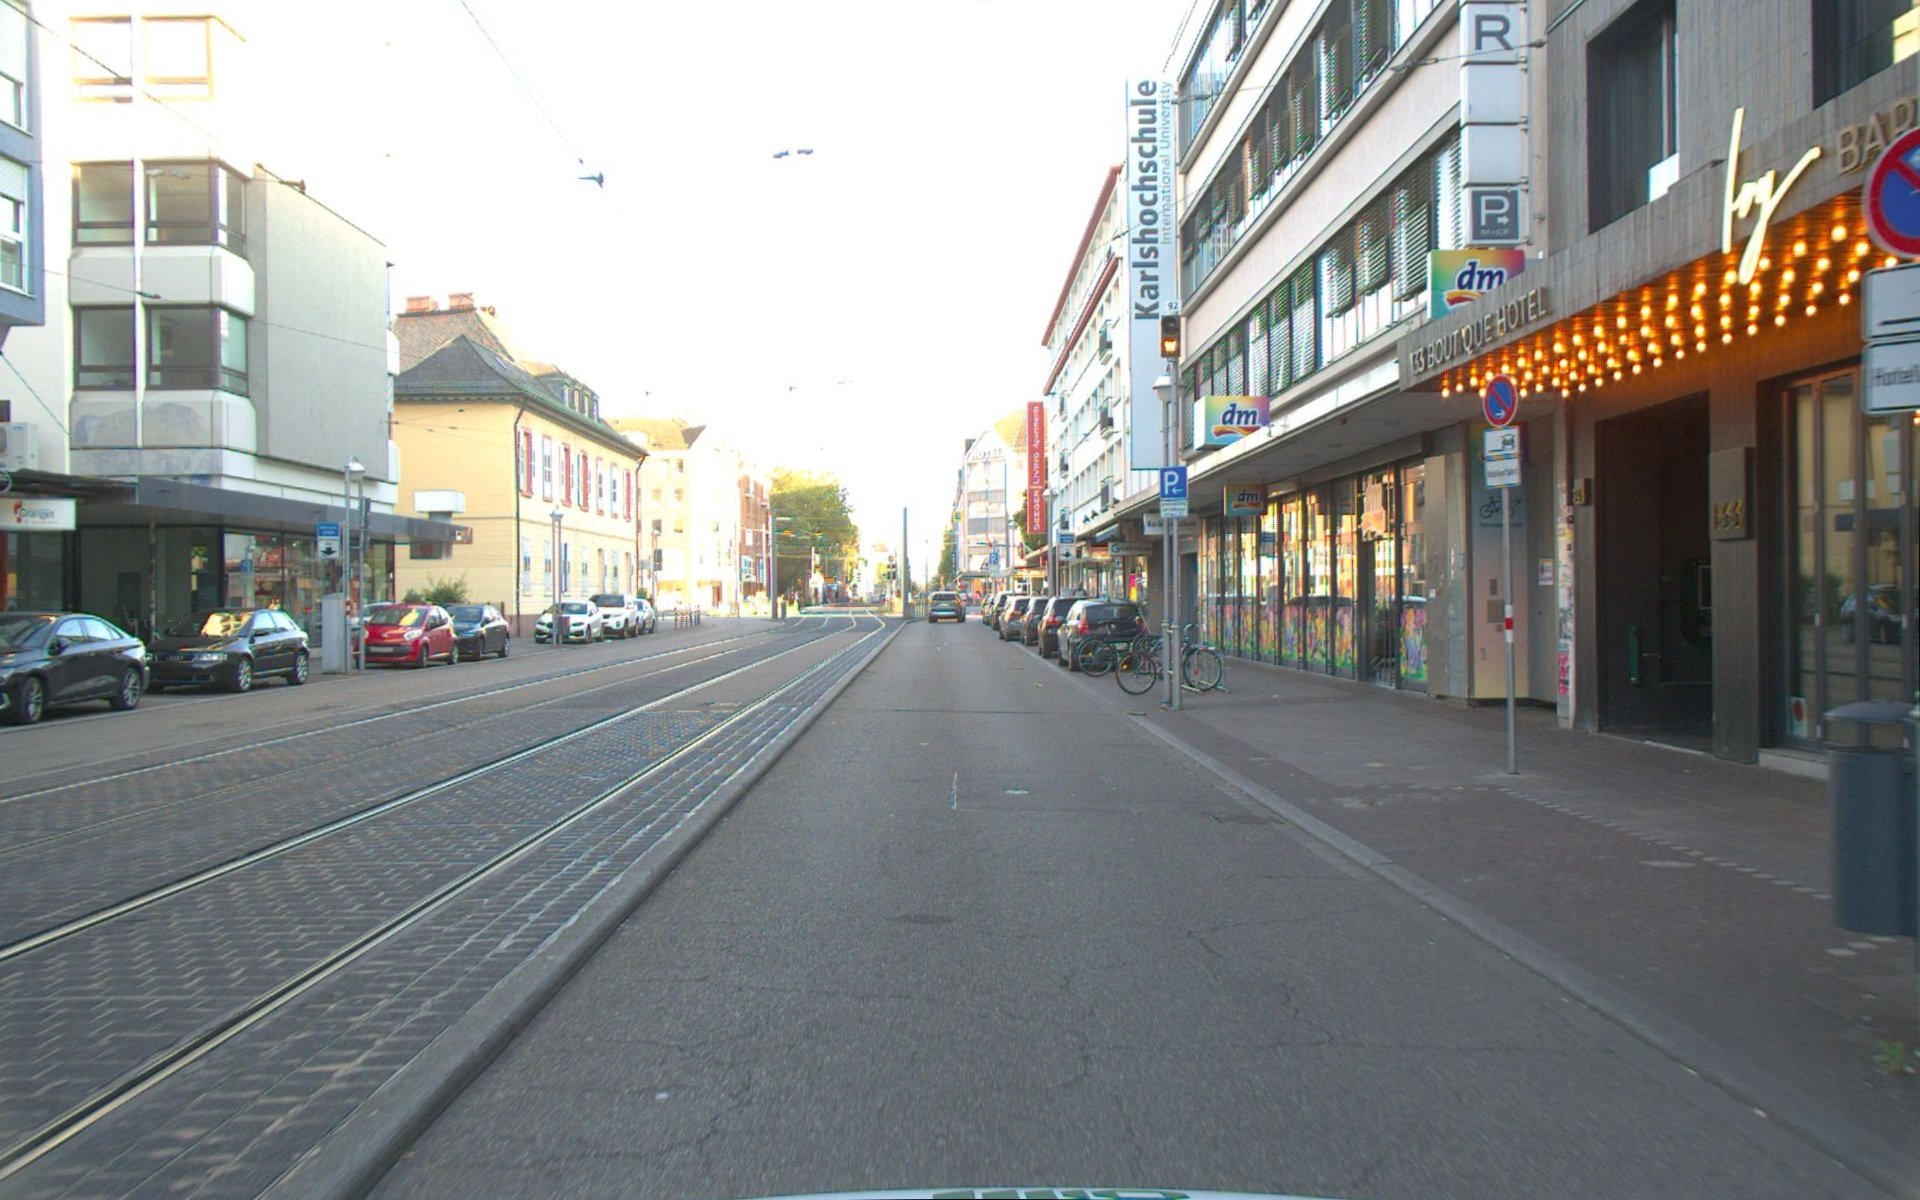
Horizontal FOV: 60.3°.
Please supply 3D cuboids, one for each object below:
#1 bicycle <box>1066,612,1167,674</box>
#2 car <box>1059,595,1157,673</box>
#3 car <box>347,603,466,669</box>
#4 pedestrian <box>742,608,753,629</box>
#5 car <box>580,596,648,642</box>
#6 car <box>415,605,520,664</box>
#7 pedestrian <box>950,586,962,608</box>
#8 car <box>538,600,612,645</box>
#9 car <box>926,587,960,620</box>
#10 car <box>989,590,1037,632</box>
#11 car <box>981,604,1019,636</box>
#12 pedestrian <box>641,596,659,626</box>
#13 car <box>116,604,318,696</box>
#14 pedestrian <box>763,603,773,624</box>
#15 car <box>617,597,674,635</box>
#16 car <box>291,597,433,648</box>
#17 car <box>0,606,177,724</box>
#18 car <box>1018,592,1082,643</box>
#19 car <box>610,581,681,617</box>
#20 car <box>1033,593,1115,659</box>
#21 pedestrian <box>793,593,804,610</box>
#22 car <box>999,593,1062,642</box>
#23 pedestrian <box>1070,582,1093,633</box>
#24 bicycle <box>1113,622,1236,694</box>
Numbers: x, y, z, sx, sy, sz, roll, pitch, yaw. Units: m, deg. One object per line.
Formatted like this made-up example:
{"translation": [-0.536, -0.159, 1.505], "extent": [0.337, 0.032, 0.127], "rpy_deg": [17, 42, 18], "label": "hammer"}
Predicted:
{"translation": [2.951, 0.812, 31.305], "extent": [1.803, 1.129, 0.641], "rpy_deg": [1, -1, -4], "label": "bicycle"}
{"translation": [3.040, 0.684, 34.627], "extent": [1.621, 1.488, 4.022], "rpy_deg": [1, 0, -1], "label": "car"}
{"translation": [-13.093, 0.821, 39.311], "extent": [1.657, 1.459, 3.591], "rpy_deg": [0, 0, -1], "label": "car"}
{"translation": [-14.277, 1.211, 111.286], "extent": [0.650, 1.399, 0.651], "rpy_deg": [-1, 0, -4], "label": "pedestrian"}
{"translation": [-13.463, 0.722, 64.542], "extent": [1.849, 1.690, 4.758], "rpy_deg": [1, 0, -3], "label": "car"}
{"translation": [-13.179, 0.887, 44.509], "extent": [1.657, 1.450, 3.964], "rpy_deg": [2, 0, -1], "label": "car"}
{"translation": [-0.333, -0.249, 134.909], "extent": [0.856, 1.735, 0.701], "rpy_deg": [1, -1, 2], "label": "pedestrian"}
{"translation": [-13.539, 0.770, 58.402], "extent": [1.686, 1.478, 4.282], "rpy_deg": [1, 0, -1], "label": "car"}
{"translation": [-0.918, 0.189, 91.158], "extent": [1.797, 1.665, 4.090], "rpy_deg": [-2, -1, 0], "label": "car"}
{"translation": [2.262, 0.477, 71.751], "extent": [1.818, 1.730, 4.416], "rpy_deg": [1, 0, -1], "label": "car"}
{"translation": [1.901, 0.951, 78.927], "extent": [1.617, 1.445, 4.190], "rpy_deg": [1, 0, -1], "label": "car"}
{"translation": [-16.405, 0.592, 87.536], "extent": [0.783, 1.569, 0.877], "rpy_deg": [1, -1, 1], "label": "pedestrian"}
{"translation": [-13.209, 0.847, 29.667], "extent": [1.753, 1.486, 4.091], "rpy_deg": [-1, 0, 0], "label": "car"}
{"translation": [-12.964, 0.895, 111.509], "extent": [0.650, 1.399, 0.651], "rpy_deg": [0, 0, -4], "label": "pedestrian"}
{"translation": [-13.408, 0.662, 70.673], "extent": [1.713, 1.500, 3.999], "rpy_deg": [1, 0, -1], "label": "car"}
{"translation": [-19.395, 0.726, 53.765], "extent": [3.907, 1.580, 1.913], "rpy_deg": [1, -1, -3], "label": "car"}
{"translation": [-12.961, 0.832, 23.172], "extent": [1.834, 1.452, 4.570], "rpy_deg": [1, 0, -1], "label": "car"}
{"translation": [2.760, 0.539, 51.319], "extent": [1.691, 1.507, 3.999], "rpy_deg": [1, 0, -1], "label": "car"}
{"translation": [-18.764, -0.054, 98.648], "extent": [3.924, 2.049, 1.990], "rpy_deg": [-1, 0, -18], "label": "car"}
{"translation": [2.830, 0.633, 41.783], "extent": [1.729, 1.540, 4.071], "rpy_deg": [1, 0, -1], "label": "car"}
{"translation": [-12.969, 0.134, 132.764], "extent": [0.885, 1.399, 0.853], "rpy_deg": [-1, 0, -4], "label": "pedestrian"}
{"translation": [2.382, 0.593, 56.790], "extent": [1.755, 1.560, 4.855], "rpy_deg": [1, 0, -2], "label": "car"}
{"translation": [4.680, 0.292, 63.707], "extent": [0.759, 1.913, 0.934], "rpy_deg": [-1, -1, -3], "label": "pedestrian"}
{"translation": [3.301, 0.884, 25.519], "extent": [1.759, 0.989, 0.575], "rpy_deg": [-3, 0, -4], "label": "bicycle"}
